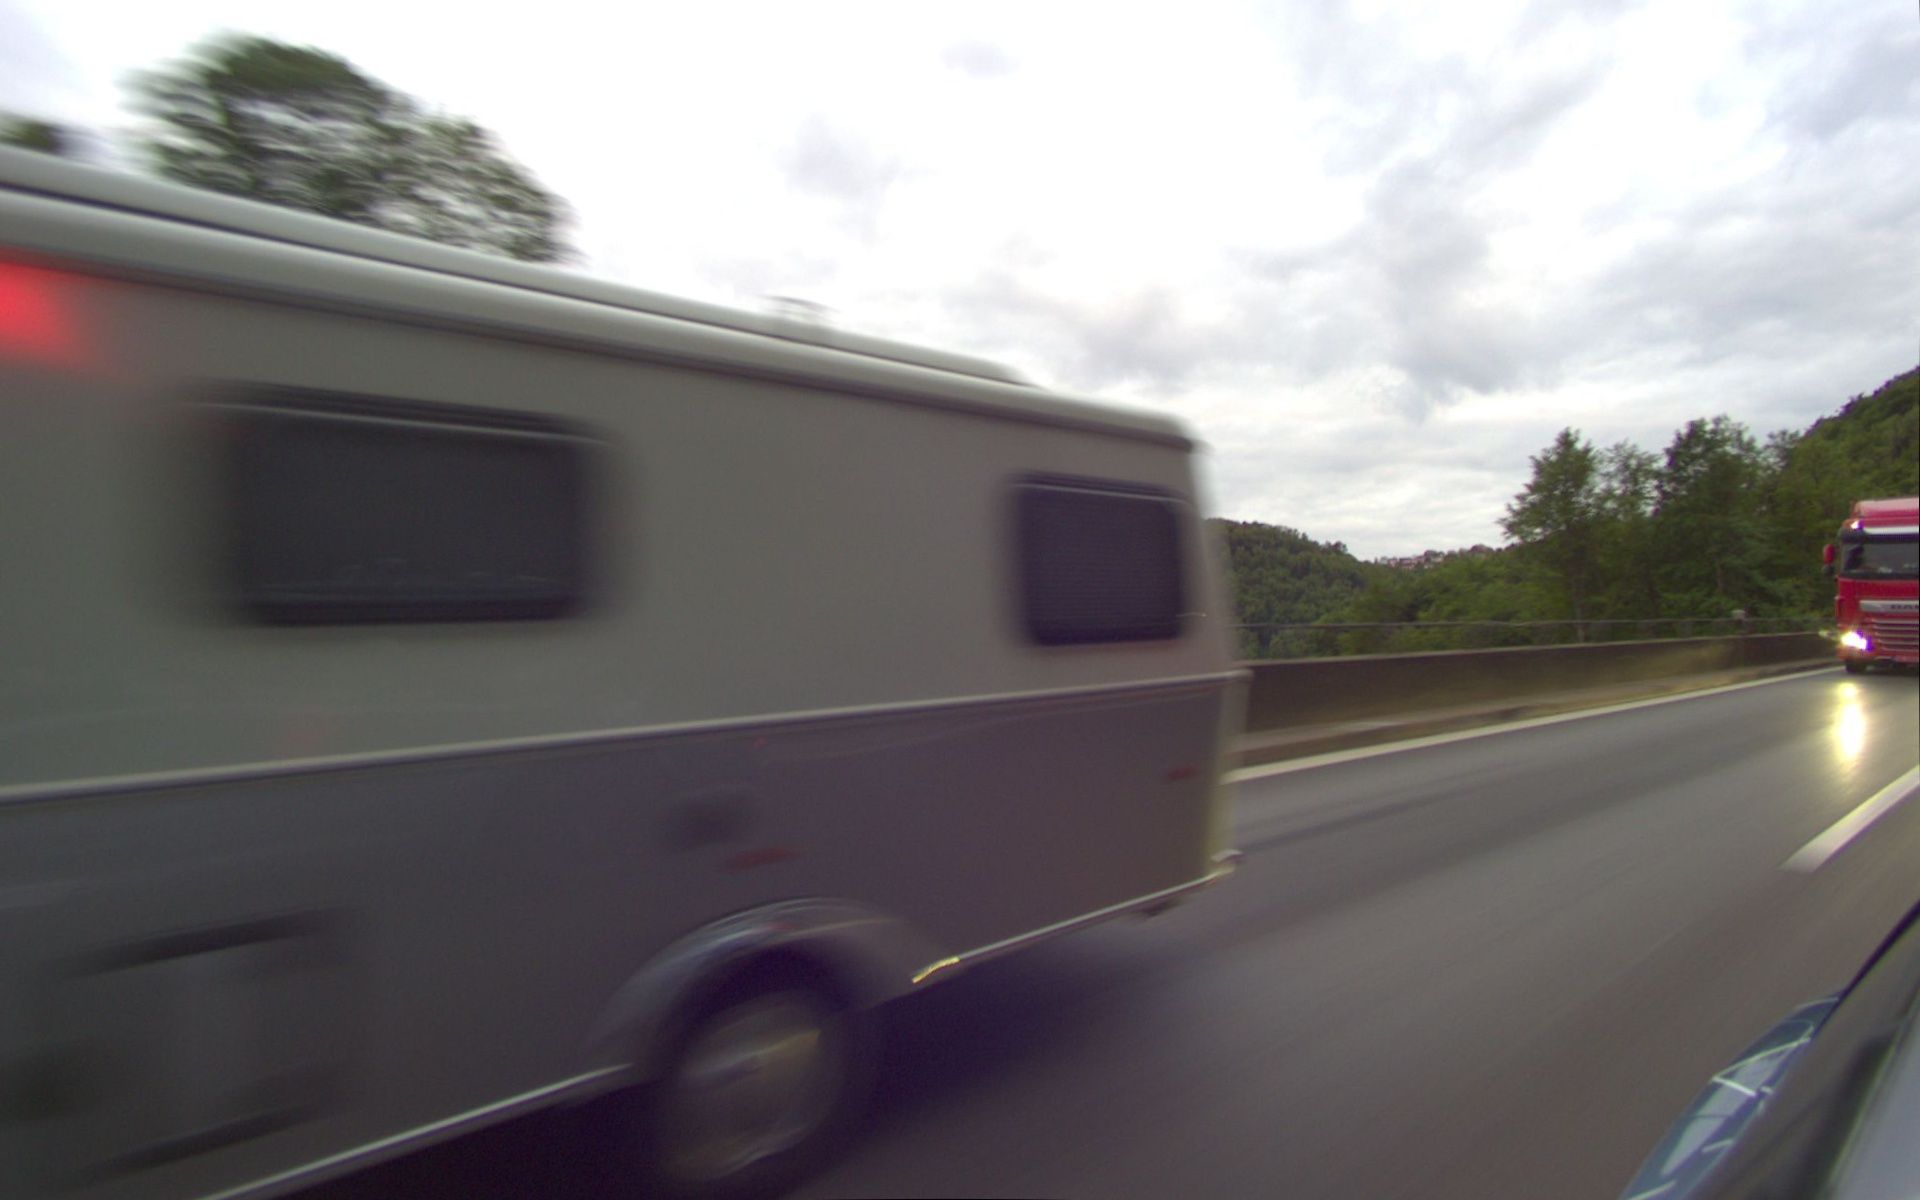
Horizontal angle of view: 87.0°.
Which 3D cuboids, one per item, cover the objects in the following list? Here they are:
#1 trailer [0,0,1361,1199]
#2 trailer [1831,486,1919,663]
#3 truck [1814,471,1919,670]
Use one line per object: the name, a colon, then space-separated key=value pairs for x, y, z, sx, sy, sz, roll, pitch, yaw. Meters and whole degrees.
trailer: x=-1.350 y=0.226 z=2.880 sx=5.832 sy=2.405 sz=2.058 roll=0 pitch=-2 yaw=-40
trailer: x=27.203 y=-0.521 z=27.380 sx=13.961 sy=4.021 sz=3.103 roll=1 pitch=-1 yaw=-39
truck: x=22.523 y=-0.623 z=23.498 sx=6.333 sy=4.197 sz=3.074 roll=0 pitch=-1 yaw=-41
